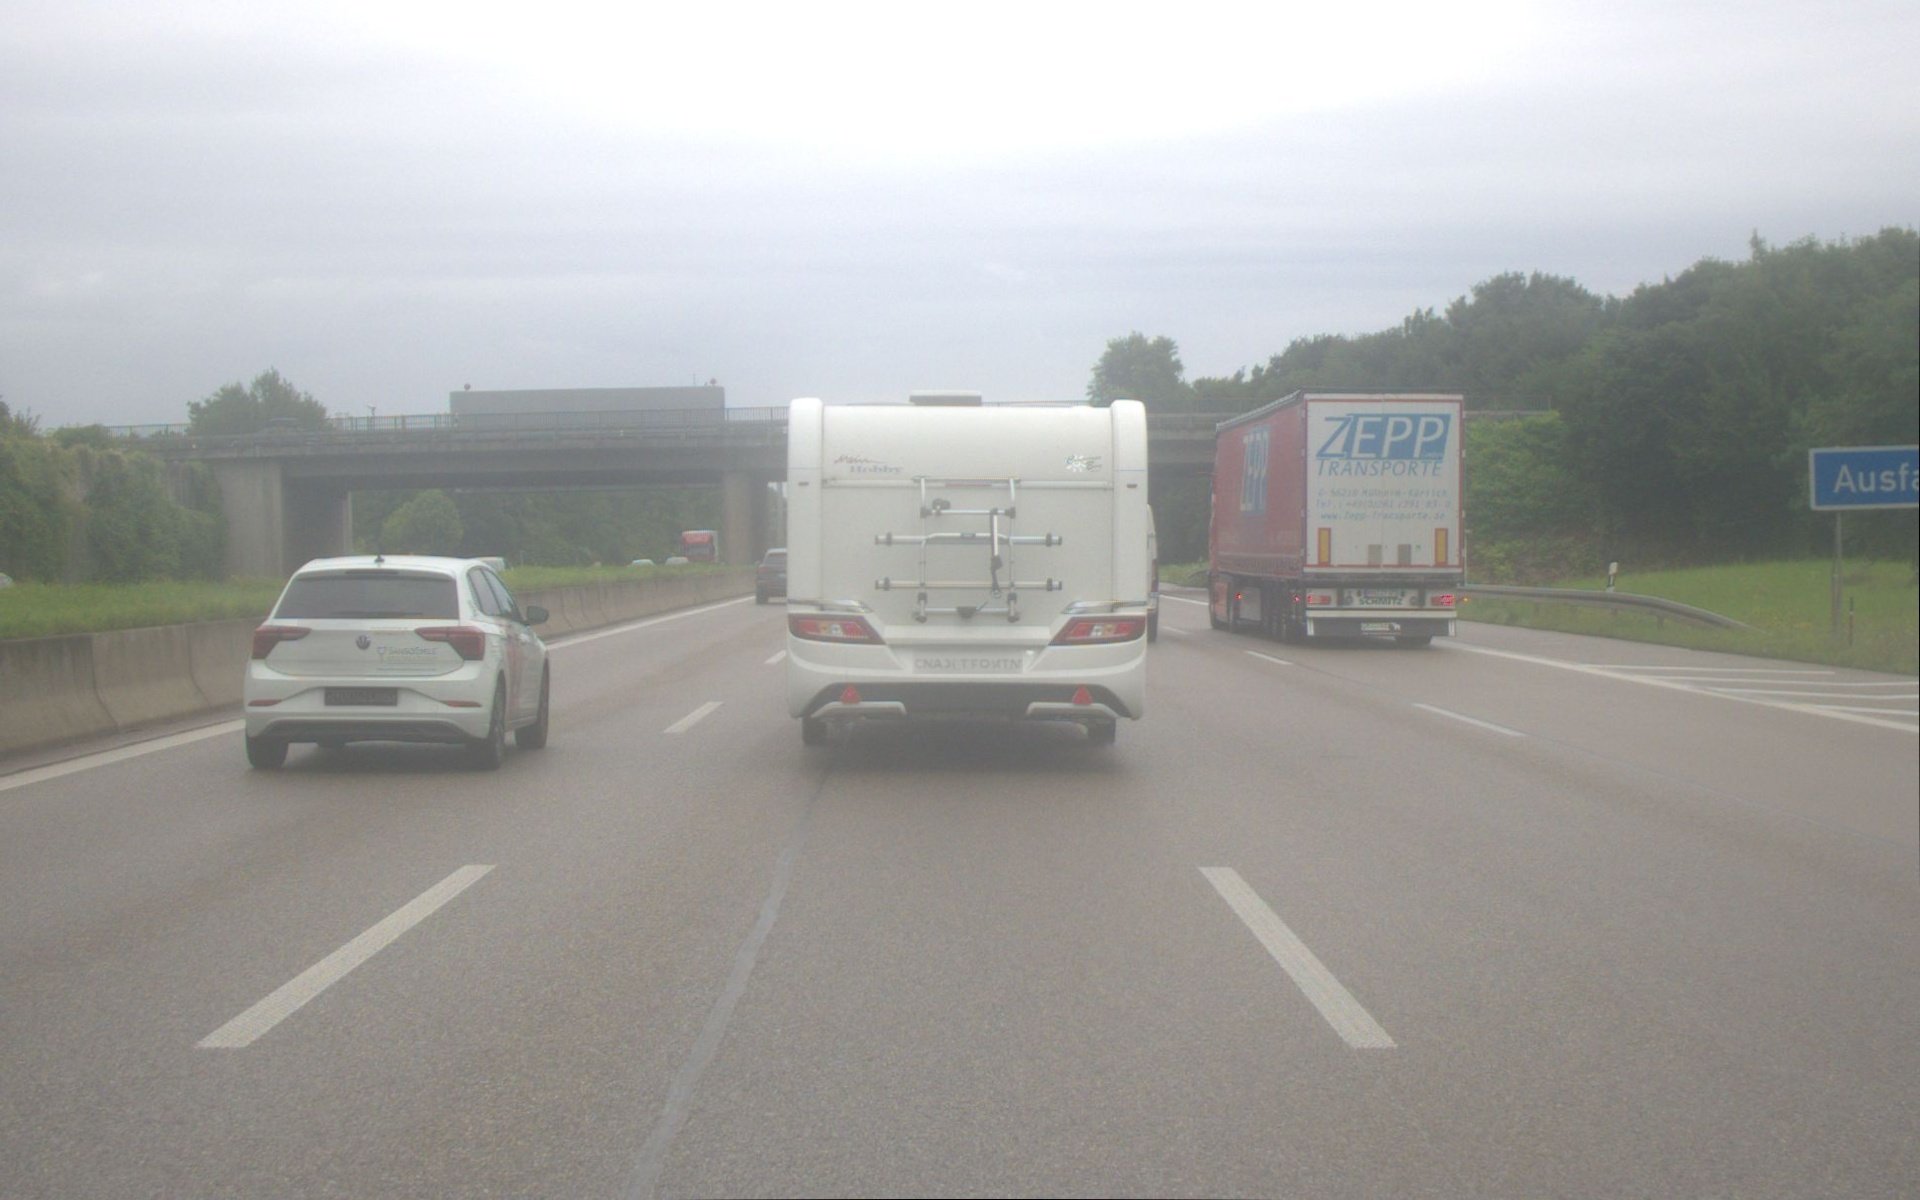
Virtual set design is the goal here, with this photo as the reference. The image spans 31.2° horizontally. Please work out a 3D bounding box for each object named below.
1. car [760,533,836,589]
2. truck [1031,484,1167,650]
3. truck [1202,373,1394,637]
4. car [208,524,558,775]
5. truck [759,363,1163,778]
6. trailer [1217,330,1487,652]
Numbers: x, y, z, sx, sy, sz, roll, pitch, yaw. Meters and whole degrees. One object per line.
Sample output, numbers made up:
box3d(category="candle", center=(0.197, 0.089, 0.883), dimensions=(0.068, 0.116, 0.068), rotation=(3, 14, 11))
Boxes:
box3d(category="car", center=(-4.786, -1.166, 102.207), dimensions=(1.993, 1.594, 5.123), rotation=(1, 1, 0))
box3d(category="truck", center=(2.383, -0.576, 60.405), dimensions=(2.053, 2.760, 5.549), rotation=(1, 1, -1))
box3d(category="truck", center=(6.414, -1.772, 66.090), dimensions=(3.048, 4.823, 5.850), rotation=(1, 0, 0))
box3d(category="car", center=(-3.994, 0.284, 24.513), dimensions=(1.753, 1.612, 4.664), rotation=(0, 1, -1))
box3d(category="truck", center=(-0.032, -0.221, 25.429), dimensions=(2.661, 2.733, 5.078), rotation=(1, 1, -1))
box3d(category="trailer", center=(6.460, -1.738, 58.651), dimensions=(3.100, 4.905, 11.791), rotation=(1, 1, 0))
